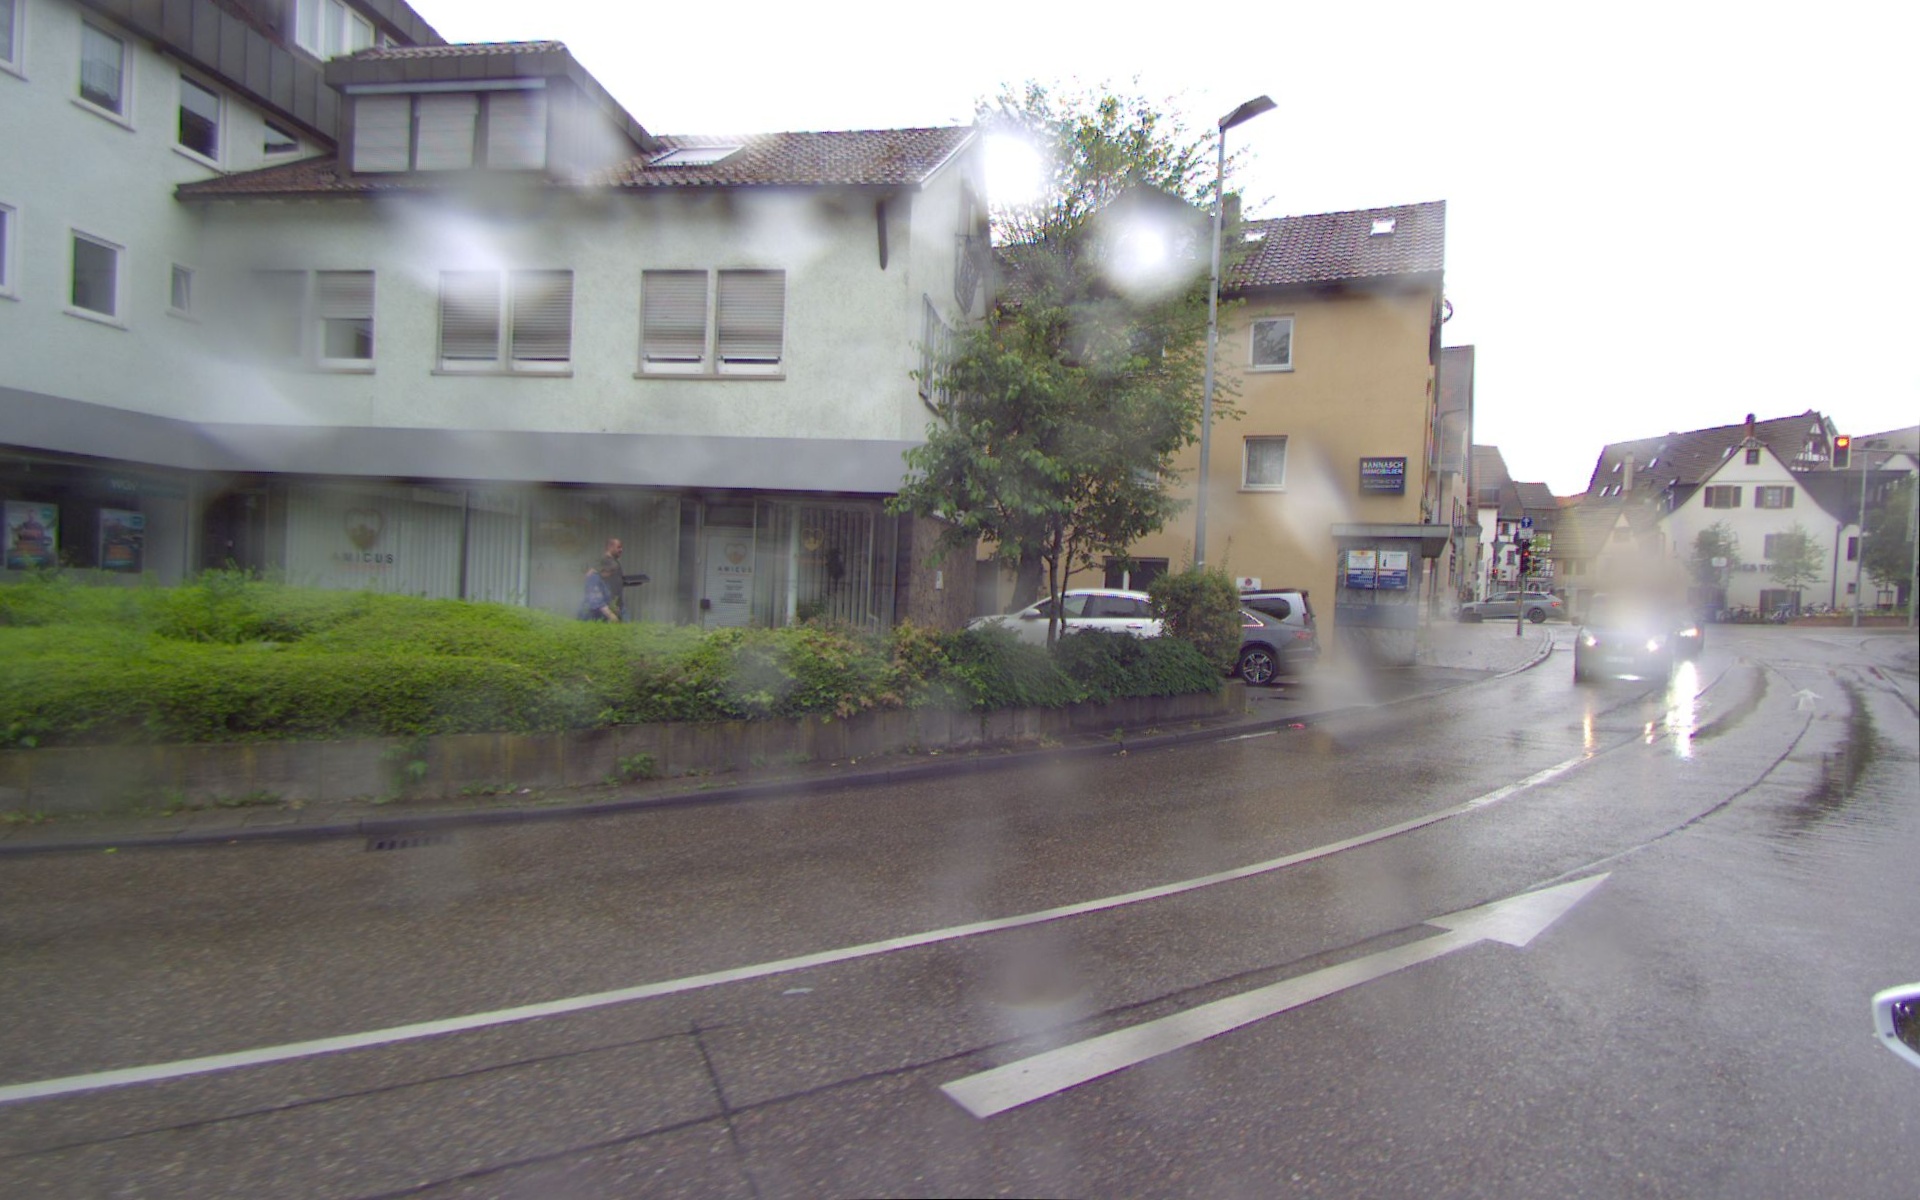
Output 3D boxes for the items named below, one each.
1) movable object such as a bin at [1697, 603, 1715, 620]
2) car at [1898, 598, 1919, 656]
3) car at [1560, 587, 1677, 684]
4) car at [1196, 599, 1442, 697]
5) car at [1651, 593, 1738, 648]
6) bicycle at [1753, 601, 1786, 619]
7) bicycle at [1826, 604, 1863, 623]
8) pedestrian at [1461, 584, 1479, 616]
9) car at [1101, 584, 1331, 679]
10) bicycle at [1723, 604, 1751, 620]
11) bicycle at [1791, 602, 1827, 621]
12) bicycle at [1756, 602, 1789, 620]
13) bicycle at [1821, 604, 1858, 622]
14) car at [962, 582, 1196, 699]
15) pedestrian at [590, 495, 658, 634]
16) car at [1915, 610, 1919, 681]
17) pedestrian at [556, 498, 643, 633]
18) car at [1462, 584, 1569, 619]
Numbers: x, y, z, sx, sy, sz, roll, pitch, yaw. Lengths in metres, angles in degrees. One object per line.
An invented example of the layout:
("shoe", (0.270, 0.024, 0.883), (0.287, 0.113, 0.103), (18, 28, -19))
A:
("movable object such as a bin", (40.865, 0.637, 55.019), (0.576, 0.914, 0.584), (2, 2, 10))
("car", (29.105, 0.783, 29.637), (1.863, 1.617, 4.303), (3, 2, 41))
("car", (14.957, 0.692, 22.749), (1.967, 1.907, 4.363), (2, 2, 35))
("car", (6.365, 0.786, 18.064), (3.921, 1.473, 1.899), (2, 2, 20))
("car", (21.349, 0.548, 29.335), (1.836, 1.406, 4.249), (2, 2, 34))
("bicycle", (43.050, 0.543, 53.412), (1.441, 0.924, 0.392), (1, 2, -4))
("bicycle", (46.389, 0.688, 52.690), (1.440, 0.924, 0.393), (1, 4, 9))
("pedestrian", (30.820, -0.006, 60.667), (0.782, 1.855, 0.714), (-1, 1, 11))
("car", (5.909, 0.728, 23.217), (4.841, 1.850, 1.961), (-4, 1, 23))
("bicycle", (41.320, 0.648, 53.408), (1.412, 0.830, 0.337), (0, 4, -12))
("bicycle", (44.990, 0.608, 53.228), (1.440, 0.924, 0.393), (1, 4, 9))
("bicycle", (42.838, 0.570, 52.933), (1.441, 0.924, 0.392), (1, 2, -4))
("bicycle", (46.490, 0.689, 53.103), (1.440, 0.924, 0.393), (1, 4, 9))
("car", (2.046, 0.608, 16.748), (3.572, 1.651, 2.001), (2, 1, 15))
("pedestrian", (-4.621, -0.486, 13.831), (0.659, 1.844, 0.618), (2, 2, 3))
("car", (20.171, 1.036, 19.518), (1.833, 1.492, 3.984), (-2, 2, 37))
("pedestrian", (-4.685, -0.448, 13.090), (0.845, 1.694, 0.618), (2, 2, 4))
("car", (26.670, 0.059, 48.257), (4.401, 1.612, 1.995), (1, 0, 32))
